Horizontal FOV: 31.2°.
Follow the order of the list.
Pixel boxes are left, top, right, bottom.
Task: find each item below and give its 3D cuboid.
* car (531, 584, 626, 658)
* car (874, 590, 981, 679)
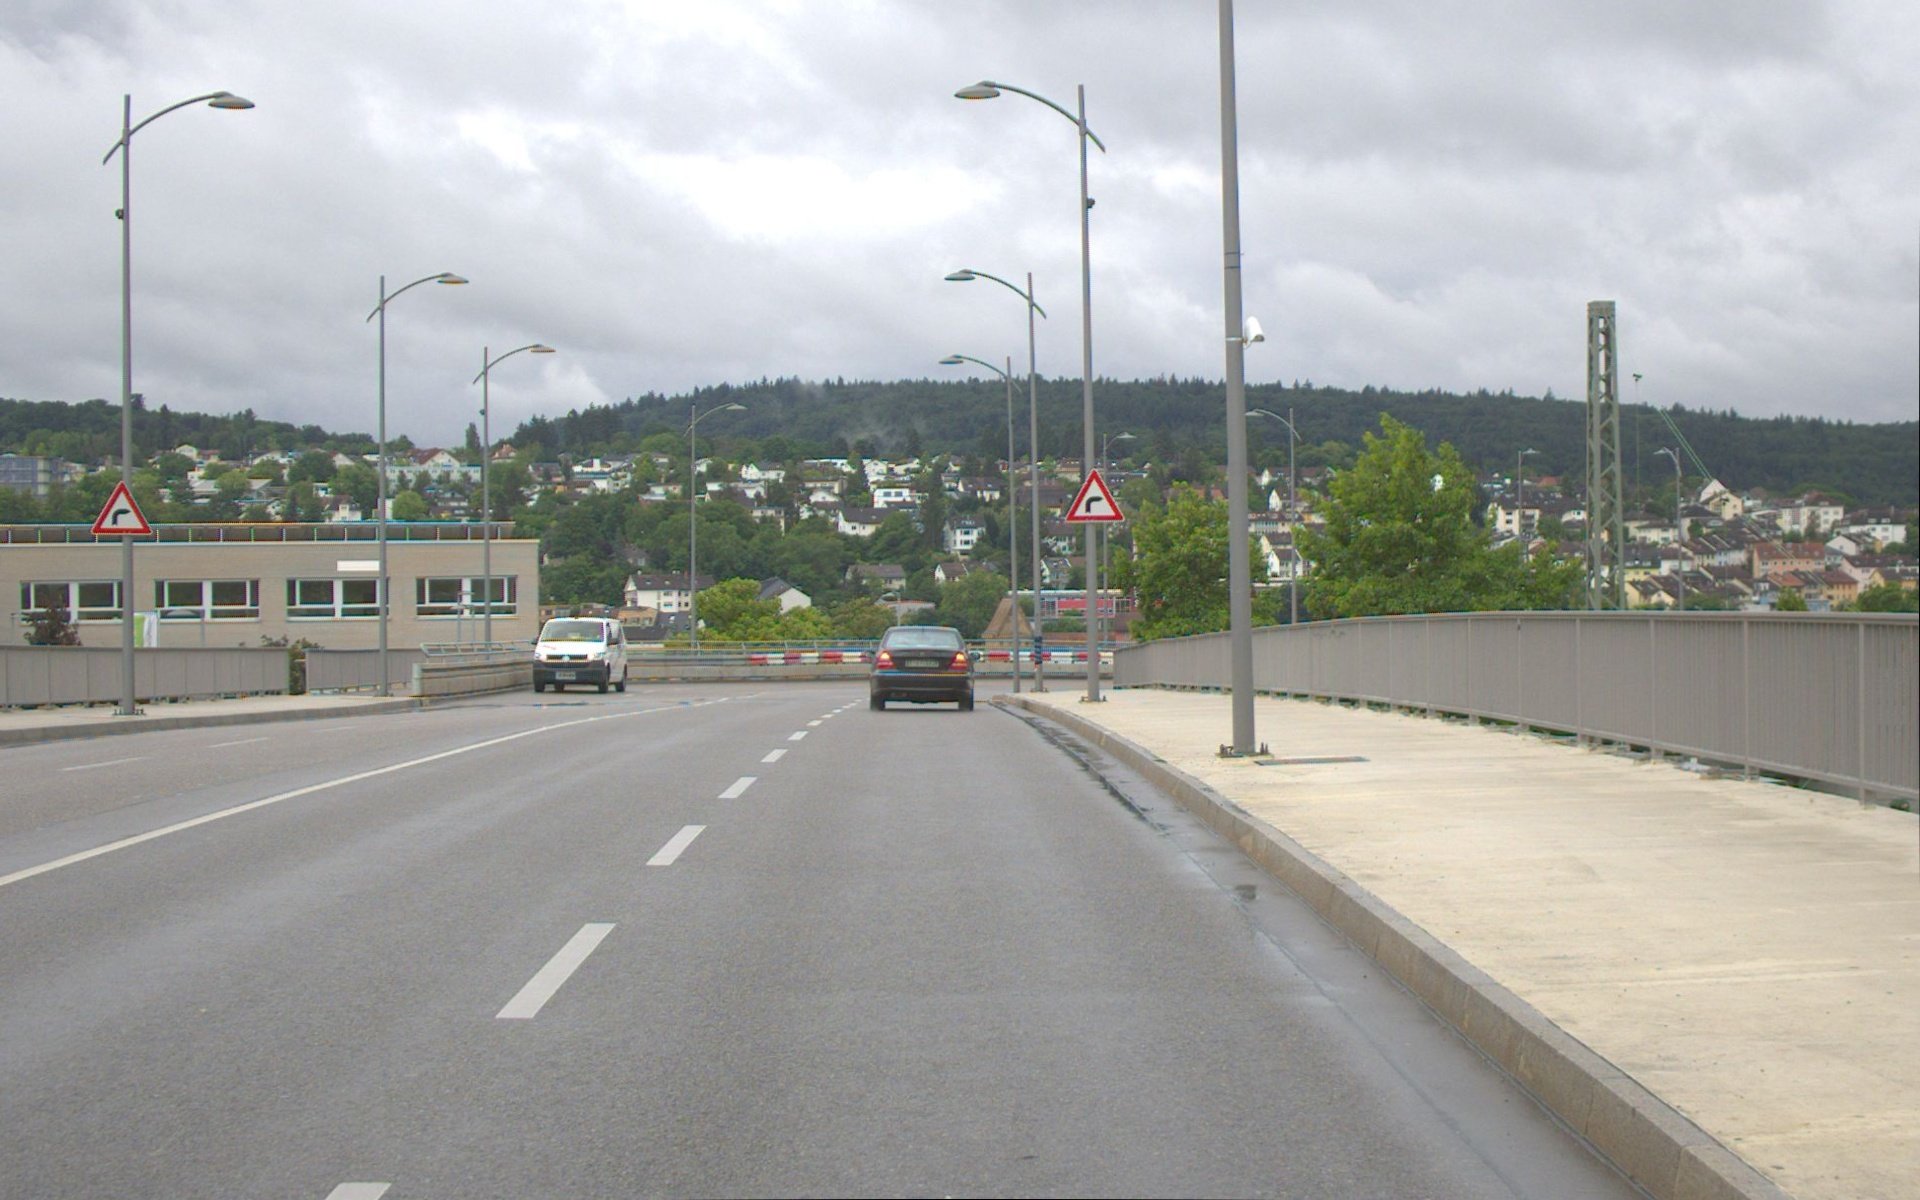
[{"bbox_3d":[-9.859,0.563,89.182,1.886,1.816,4.958,0,-1,0],"label":"car"},{"bbox_3d":[-0.564,0.592,56.758,1.706,1.415,3.725,0,-1,-1],"label":"car"}]
